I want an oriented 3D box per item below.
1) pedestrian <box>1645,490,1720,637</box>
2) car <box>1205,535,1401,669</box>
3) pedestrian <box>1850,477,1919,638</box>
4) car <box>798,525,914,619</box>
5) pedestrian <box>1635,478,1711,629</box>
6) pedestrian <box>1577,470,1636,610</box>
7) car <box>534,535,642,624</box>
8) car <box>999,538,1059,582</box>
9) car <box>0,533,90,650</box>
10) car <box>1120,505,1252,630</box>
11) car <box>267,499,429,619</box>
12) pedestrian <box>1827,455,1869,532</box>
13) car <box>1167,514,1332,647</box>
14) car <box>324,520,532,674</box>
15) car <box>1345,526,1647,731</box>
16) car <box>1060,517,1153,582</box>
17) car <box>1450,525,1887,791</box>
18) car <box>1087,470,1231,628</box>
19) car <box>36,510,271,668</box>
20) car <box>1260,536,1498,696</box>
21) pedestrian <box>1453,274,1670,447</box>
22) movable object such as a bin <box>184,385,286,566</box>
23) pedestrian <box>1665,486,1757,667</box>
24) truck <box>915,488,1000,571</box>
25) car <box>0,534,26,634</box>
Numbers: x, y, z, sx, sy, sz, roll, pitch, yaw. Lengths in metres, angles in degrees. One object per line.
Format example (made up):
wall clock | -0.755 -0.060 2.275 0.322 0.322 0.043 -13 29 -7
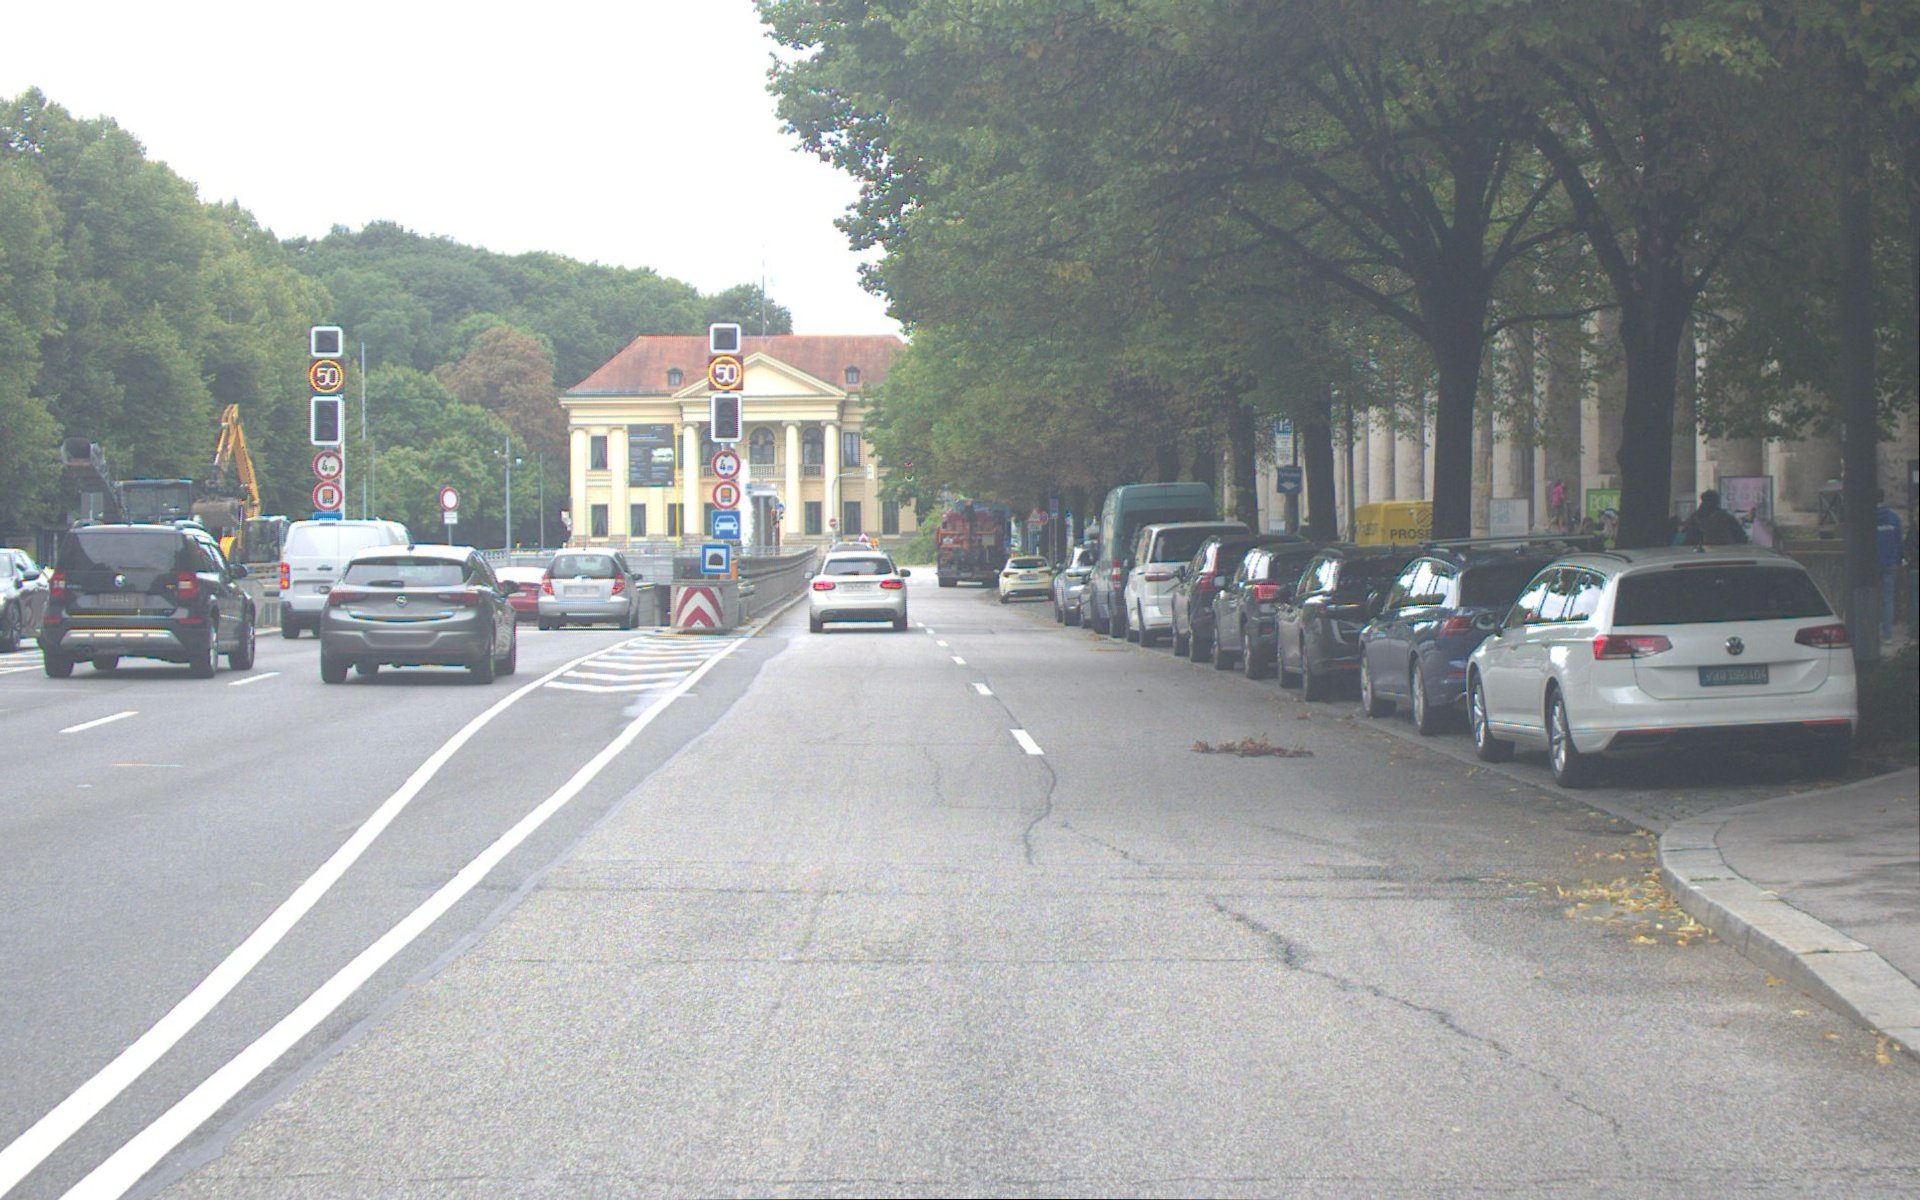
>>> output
pedestrian | 9.492 -0.481 45.166 0.779 1.903 0.771 1 1 -1
car | 3.955 -0.011 40.221 1.822 1.459 4.028 -1 1 -1
pedestrian | 11.178 -0.506 41.222 0.779 1.903 0.771 1 1 -1
car | -1.940 -0.539 63.183 1.779 1.639 4.001 1 1 -7
pedestrian | 9.159 -0.597 44.180 0.779 1.903 0.771 1 1 -1
pedestrian | 8.939 -0.829 47.552 0.642 1.903 0.682 1 1 -1
car | -7.183 -0.420 66.657 1.779 1.648 4.001 1 1 -2
car | 2.135 -1.252 107.452 1.724 1.319 4.028 -1 1 -1
car | -13.834 -0.140 48.777 1.993 1.590 4.000 -1 1 -1
car | 3.492 -0.521 53.731 1.724 1.861 4.028 -1 1 -1
car | -9.873 -0.667 55.791 1.898 1.841 4.956 0 1 -2
pedestrian | 15.910 -1.904 61.608 0.566 1.369 0.646 1 1 -1
car | 3.807 -0.284 45.858 1.724 1.659 4.590 -1 1 -1
car | -5.677 -0.072 37.103 1.710 1.546 4.000 1 1 -2
car | 4.365 0.176 28.644 1.724 1.544 4.586 -1 1 -1
car | 3.061 -1.074 72.613 1.724 1.319 4.028 -1 1 -1
car | 4.523 0.298 22.669 1.827 1.544 4.752 -1 1 -1
car | 3.466 -0.910 60.685 1.993 2.634 4.878 1 1 -3
car | -8.824 -0.145 37.943 1.722 1.631 4.205 0 1 -2
car | 4.111 0.104 34.413 1.724 1.459 4.776 -1 1 -1
pedestrian | 7.742 -3.052 44.608 1.993 2.007 4.000 1 1 -1
movable object such as a bin | -26.726 -4.554 126.890 2.699 6.488 5.176 1 1 -1
pedestrian | 8.049 -0.256 36.864 0.779 1.903 0.771 1 1 -1
truck | -0.149 -2.956 144.426 3.325 3.355 8.663 1 1 -1
car | -16.291 -0.246 54.740 1.993 1.590 4.001 -1 1 -4
